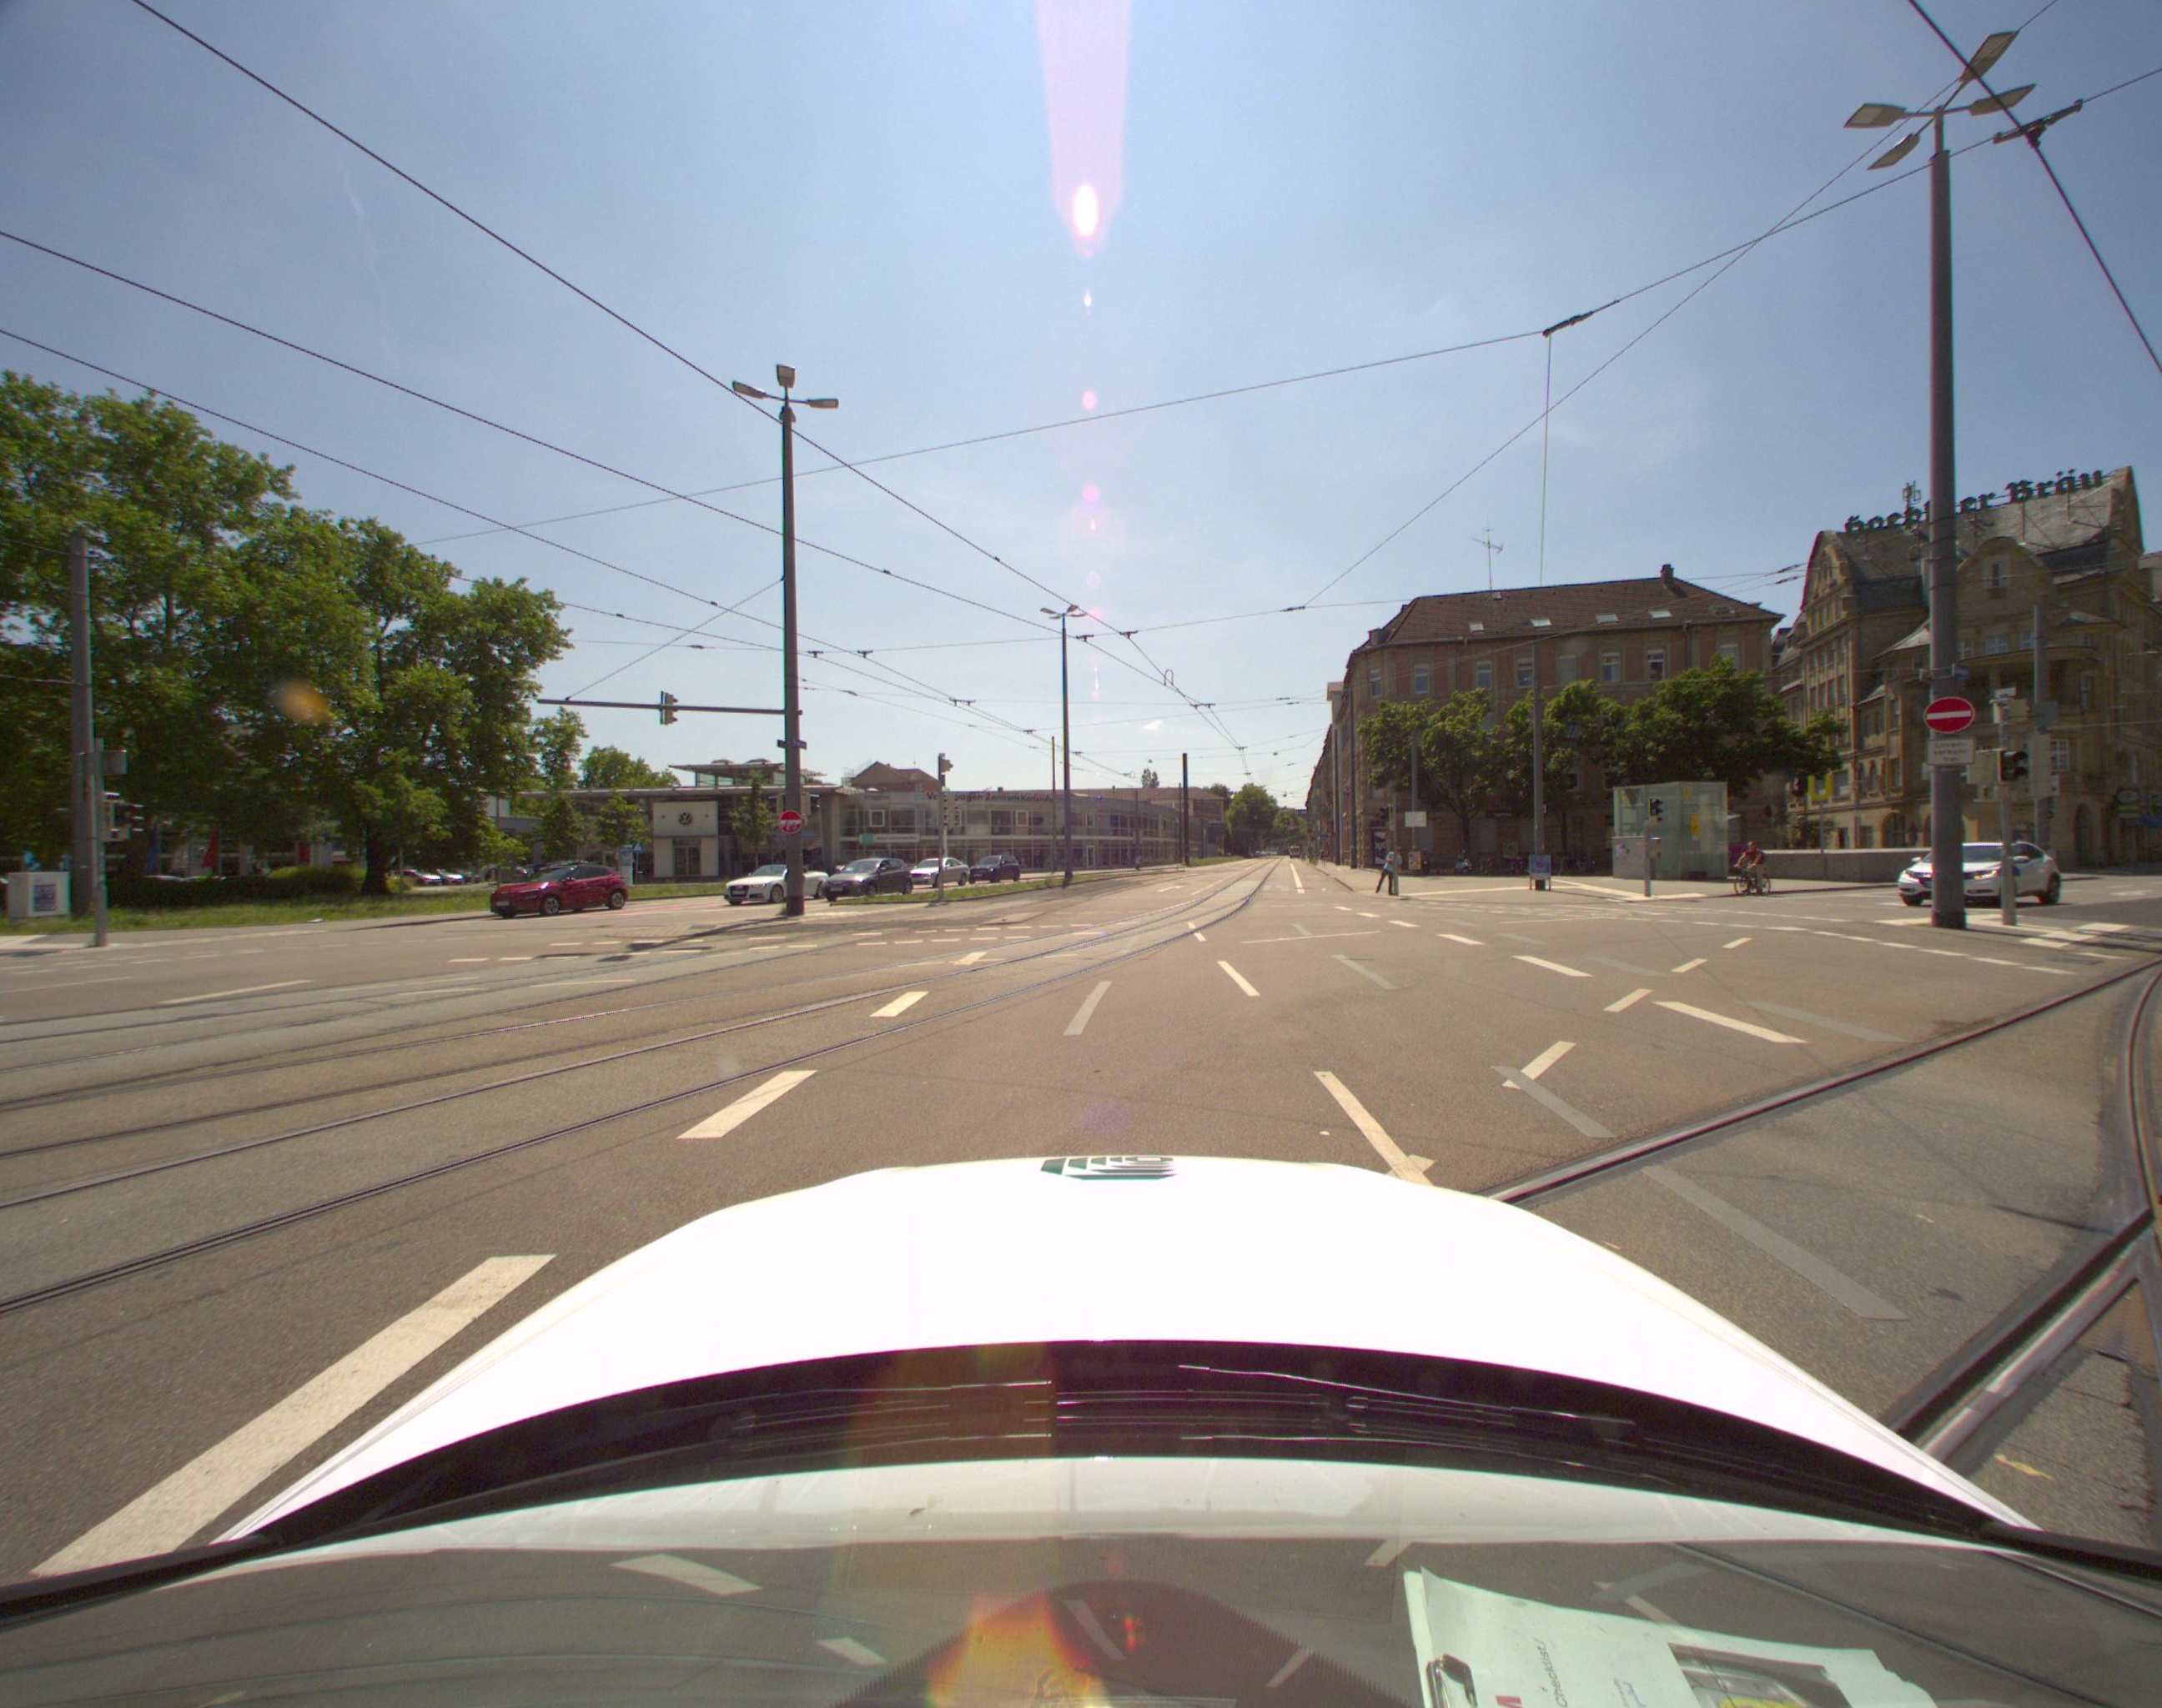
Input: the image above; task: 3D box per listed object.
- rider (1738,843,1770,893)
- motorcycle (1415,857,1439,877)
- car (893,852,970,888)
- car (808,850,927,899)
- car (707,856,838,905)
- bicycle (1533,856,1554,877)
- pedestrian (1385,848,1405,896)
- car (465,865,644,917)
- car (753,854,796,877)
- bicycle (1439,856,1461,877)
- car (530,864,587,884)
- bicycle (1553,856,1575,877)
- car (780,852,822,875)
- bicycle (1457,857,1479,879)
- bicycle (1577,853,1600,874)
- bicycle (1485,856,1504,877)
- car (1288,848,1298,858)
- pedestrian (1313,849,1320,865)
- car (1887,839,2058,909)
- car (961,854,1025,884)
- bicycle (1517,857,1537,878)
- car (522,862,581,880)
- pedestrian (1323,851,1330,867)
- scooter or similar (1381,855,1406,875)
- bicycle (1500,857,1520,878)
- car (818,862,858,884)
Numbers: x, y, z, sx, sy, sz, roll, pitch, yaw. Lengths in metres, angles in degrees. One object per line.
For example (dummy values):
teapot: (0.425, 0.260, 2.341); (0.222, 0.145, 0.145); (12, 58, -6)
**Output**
rider: (22.061, 0.441, 26.691); (0.878, 1.601, 0.559); (-1, 0, -33)
motorcycle: (19.138, 0.697, 45.064); (0.577, 1.074, 1.948); (-1, 0, 3)
car: (-7.574, 0.773, 41.739); (1.978, 1.739, 4.563); (-1, 0, 16)
car: (-7.704, 0.696, 29.940); (1.978, 1.637, 4.867); (-1, 0, 16)
car: (-11.054, 0.893, 29.591); (2.062, 1.580, 4.863); (-1, 0, 13)
bicycle: (25.401, 0.662, 44.751); (0.547, 1.120, 1.878); (-1, 0, 16)
pedestrian: (11.163, 0.637, 28.963); (0.459, 1.708, 0.641); (-1, 0, 4)
car: (-16.968, 1.133, 26.619); (1.980, 1.465, 4.863); (-1, 0, 13)
car: (-24.485, 0.912, 65.191); (1.914, 1.707, 3.999); (1, -1, 0)
bicycle: (20.348, 0.671, 44.946); (0.548, 1.120, 1.823); (-1, 0, 6)
car: (-42.506, 1.635, 66.363); (1.761, 1.510, 4.326); (-1, 0, 0)
bicycle: (26.496, 0.662, 44.725); (0.547, 1.120, 1.937); (-1, 0, 16)
car: (-22.419, 0.761, 65.299); (1.914, 1.707, 3.999); (1, -1, 0)
bicycle: (21.376, 0.778, 45.027); (0.440, 1.146, 2.097); (1, -1, 6)
bicycle: (27.630, 0.512, 44.345); (0.547, 1.120, 1.828); (-1, 0, 16)
bicycle: (22.637, 0.660, 44.610); (0.547, 1.120, 1.828); (-1, 0, 16)
car: (44.899, -0.197, 172.706); (1.979, 2.181, 4.385); (1, -1, 14)
pedestrian: (30.549, 0.413, 105.678); (0.762, 2.014, 0.666); (1, -1, 11)
car: (22.195, 0.444, 20.258); (4.200, 1.605, 1.681); (-1, 0, -25)
car: (-5.195, 0.842, 48.610); (2.062, 1.682, 4.867); (-1, 0, 16)
bicycle: (24.202, 0.724, 44.207); (0.547, 1.120, 1.897); (-1, 0, 16)
car: (-46.635, 1.475, 71.764); (4.345, 1.510, 1.753); (-1, 0, -36)
pedestrian: (31.746, 0.626, 105.240); (0.762, 2.014, 0.666); (1, -1, 11)
scooter or similar: (18.337, 0.641, 47.805); (1.801, 1.181, 0.592); (0, 0, -40)
bicycle: (23.376, 0.710, 44.386); (0.547, 1.120, 1.828); (-1, 0, 16)
car: (-19.521, 1.536, 65.563); (1.914, 1.707, 3.999); (1, -1, 0)
